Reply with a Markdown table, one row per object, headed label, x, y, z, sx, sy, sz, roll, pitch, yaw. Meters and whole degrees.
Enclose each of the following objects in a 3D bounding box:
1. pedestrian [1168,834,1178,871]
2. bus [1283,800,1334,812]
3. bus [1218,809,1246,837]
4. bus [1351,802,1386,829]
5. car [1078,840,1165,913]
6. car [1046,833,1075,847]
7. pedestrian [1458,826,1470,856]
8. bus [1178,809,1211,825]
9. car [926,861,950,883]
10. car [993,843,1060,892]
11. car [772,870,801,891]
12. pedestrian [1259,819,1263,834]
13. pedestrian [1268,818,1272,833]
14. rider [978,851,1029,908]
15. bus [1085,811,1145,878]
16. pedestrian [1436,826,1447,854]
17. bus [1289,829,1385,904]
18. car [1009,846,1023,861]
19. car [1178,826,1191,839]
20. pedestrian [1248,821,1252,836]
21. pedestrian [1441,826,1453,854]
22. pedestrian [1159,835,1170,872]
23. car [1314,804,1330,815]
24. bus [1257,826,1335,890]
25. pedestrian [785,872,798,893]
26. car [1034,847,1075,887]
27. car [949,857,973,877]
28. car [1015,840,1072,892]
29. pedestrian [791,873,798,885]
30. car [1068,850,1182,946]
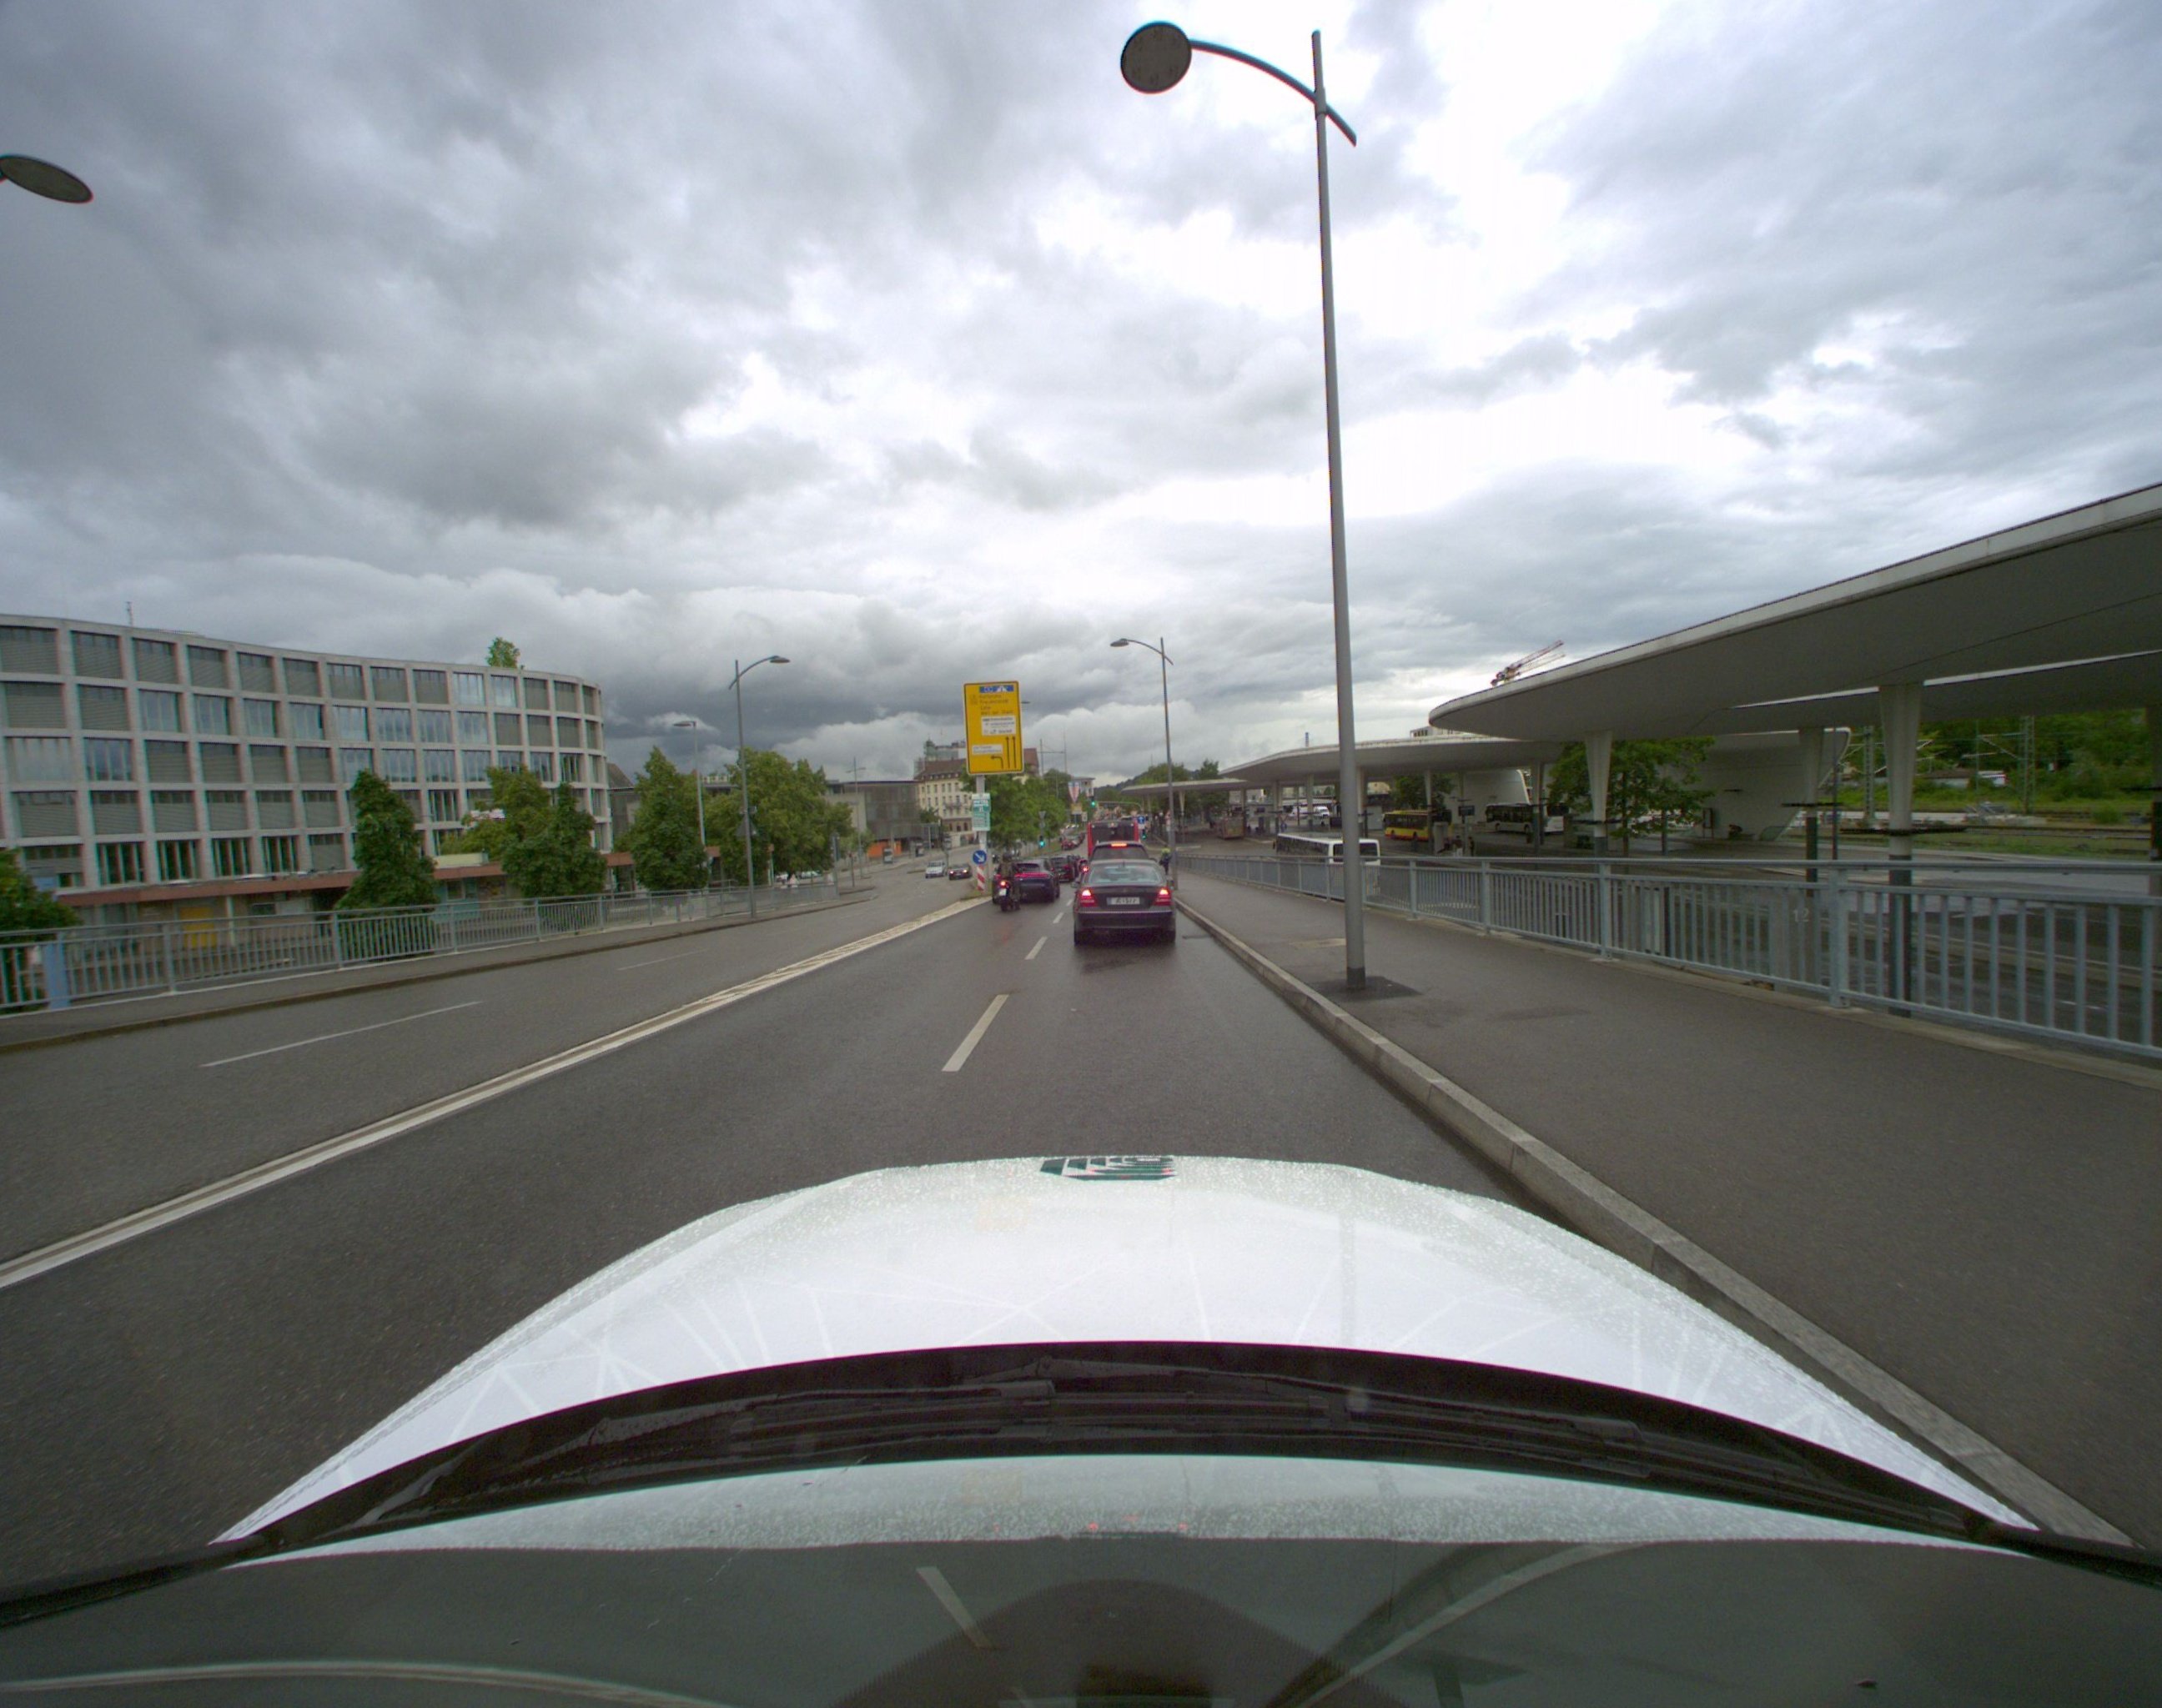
| label | x | y | z | sx | sy | sz | roll | pitch | yaw |
| --- | --- | --- | --- | --- | --- | --- | --- | --- | --- |
| pedestrian | 5.062 | -0.101 | 45.004 | 0.422 | 2.014 | 0.484 | -3 | -2 | 4 |
| bus | 48.270 | -10.229 | 172.972 | 10.139 | 2.013 | 2.169 | -3 | 1 | -1 |
| bus | 21.352 | -4.281 | 115.818 | 3.162 | 3.600 | 10.531 | -3 | 1 | 7 |
| bus | 38.036 | -5.071 | 107.938 | 2.589 | 3.209 | 7.002 | -3 | 2 | 4 |
| car | 1.166 | 0.511 | 21.347 | 1.816 | 1.687 | 4.010 | -1 | 1 | 9 |
| car | -3.109 | -2.123 | 122.889 | 3.967 | 2.013 | 2.004 | -3 | 1 | 6 |
| pedestrian | 26.512 | -0.896 | 56.382 | 0.558 | 2.013 | 0.484 | -3 | 0 | 4 |
| bus | 27.108 | -8.767 | 194.509 | 7.179 | 3.396 | 3.080 | -3 | 2 | -2 |
| car | -14.441 | 1.793 | 82.564 | 1.991 | 2.013 | 3.992 | -3 | 0 | -5 |
| car | -1.708 | 0.394 | 26.743 | 1.753 | 1.436 | 4.003 | -1 | 1 | 2 |
| car | -31.731 | 2.831 | 87.722 | 2.008 | 2.013 | 3.958 | 1 | 1 | -35 |
| pedestrian | 25.601 | -3.916 | 115.984 | 0.422 | 2.013 | 0.484 | -3 | 0 | 4 |
| pedestrian | 26.103 | -3.956 | 112.531 | 0.422 | 2.014 | 0.484 | -3 | -2 | 4 |
| rider | -2.102 | 0.665 | 22.367 | 0.876 | 1.472 | 2.201 | -1 | 1 | 8 |
| bus | 1.793 | -0.516 | 44.538 | 2.816 | 3.189 | 10.313 | -2 | 0 | 2 |
| pedestrian | 26.940 | -1.052 | 60.882 | 0.541 | 2.013 | 0.580 | -3 | 0 | 3 |
| bus | 13.064 | 0.469 | 42.264 | 2.639 | 3.235 | 7.070 | -1 | 4 | -1 |
| car | -9.423 | -0.108 | 118.197 | 1.990 | 2.013 | 4.195 | -3 | -1 | -5 |
| car | 17.998 | -3.729 | 141.407 | 1.982 | 2.013 | 4.009 | -3 | 1 | 8 |
| pedestrian | 23.371 | -3.480 | 112.441 | 0.422 | 2.013 | 0.484 | -3 | 0 | 4 |
| pedestrian | 26.728 | -1.044 | 59.462 | 0.541 | 2.013 | 0.580 | -3 | 0 | 3 |
| pedestrian | 4.608 | -0.033 | 45.178 | 0.487 | 2.014 | 0.470 | -3 | -2 | 4 |
| car | 47.666 | -8.884 | 161.191 | 1.986 | 2.013 | 4.002 | -3 | 2 | 2 |
| bus | 12.860 | 0.112 | 49.387 | 2.639 | 3.235 | 7.070 | -3 | 4 | -1 |
| pedestrian | -20.596 | 2.020 | 57.965 | 0.645 | 1.408 | 0.531 | -3 | 2 | 4 |
| car | -1.387 | 0.653 | 44.613 | 1.986 | 2.006 | 4.001 | -1 | 1 | 1 |
| car | -10.996 | 1.170 | 74.946 | 1.830 | 1.526 | 4.586 | -4 | 1 | -5 |
| car | -1.515 | 0.439 | 34.412 | 1.985 | 2.006 | 4.003 | -1 | 1 | 3 |
| pedestrian | -20.423 | 1.778 | 58.077 | 0.299 | 0.873 | 0.299 | -3 | 2 | 4 |
| car | 0.763 | 0.694 | 14.441 | 1.699 | 1.419 | 3.728 | -2 | 0 | 2 |
